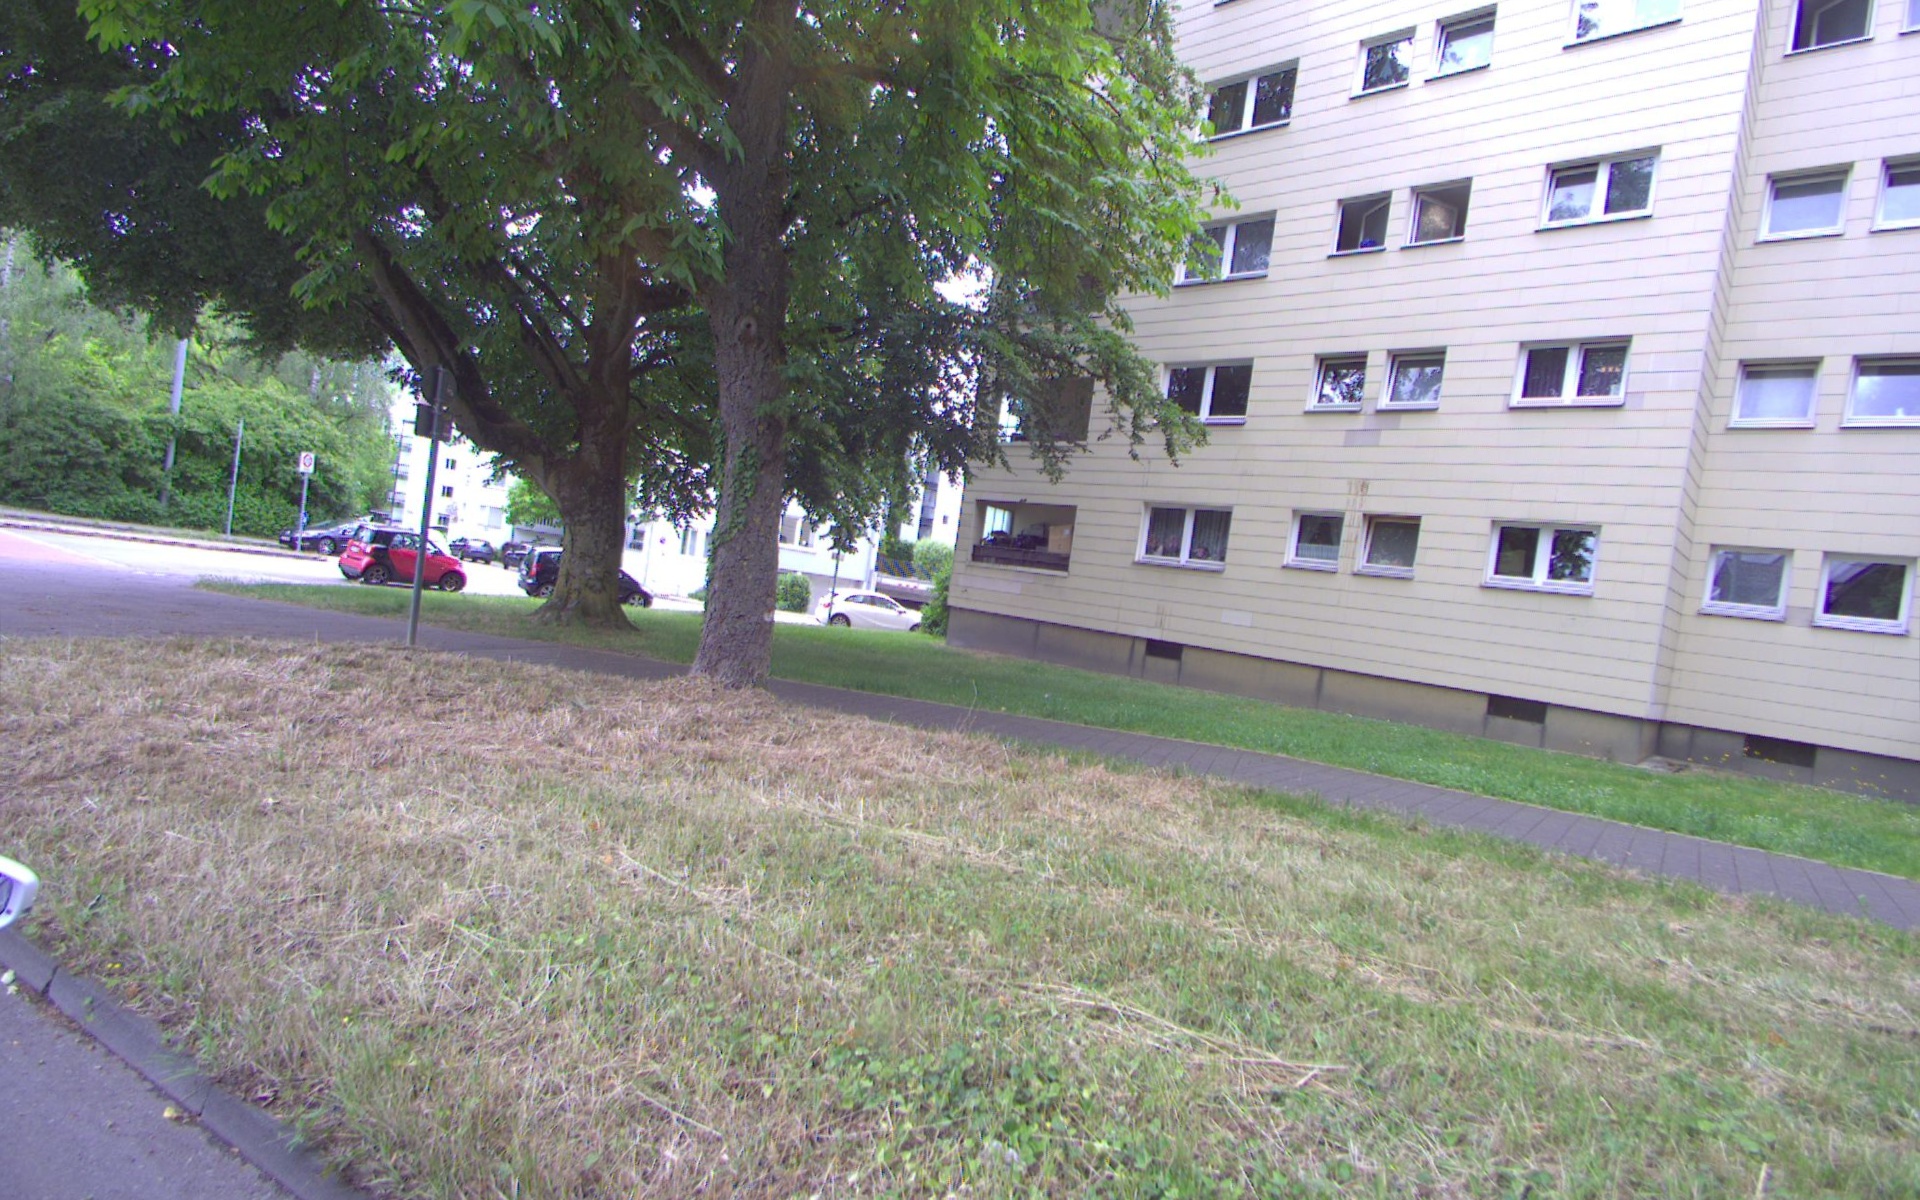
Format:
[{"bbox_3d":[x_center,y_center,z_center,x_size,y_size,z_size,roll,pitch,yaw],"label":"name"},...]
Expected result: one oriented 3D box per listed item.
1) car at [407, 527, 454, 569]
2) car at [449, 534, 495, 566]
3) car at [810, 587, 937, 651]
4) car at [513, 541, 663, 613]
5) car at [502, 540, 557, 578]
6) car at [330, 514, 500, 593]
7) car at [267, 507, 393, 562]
[{"bbox_3d":[-24.873,-2.455,47.186,1.709,1.631,3.823,6,1,-30],"label":"car"},{"bbox_3d":[-30.108,-3.089,62.027,1.713,1.631,3.813,6,1,-38],"label":"car"},{"bbox_3d":[-2.882,0.625,33.313,3.796,1.631,1.721,7,1,-18],"label":"car"},{"bbox_3d":[-11.054,-0.682,29.925,3.814,1.631,1.713,6,1,-33],"label":"car"},{"bbox_3d":[-23.183,-2.212,54.074,1.713,1.631,3.813,6,1,-38],"label":"car"},{"bbox_3d":[-14.524,-1.215,26.951,1.702,1.631,3.516,8,1,37],"label":"car"},{"bbox_3d":[-23.398,-2.415,37.435,1.702,1.549,3.515,8,1,38],"label":"car"}]
